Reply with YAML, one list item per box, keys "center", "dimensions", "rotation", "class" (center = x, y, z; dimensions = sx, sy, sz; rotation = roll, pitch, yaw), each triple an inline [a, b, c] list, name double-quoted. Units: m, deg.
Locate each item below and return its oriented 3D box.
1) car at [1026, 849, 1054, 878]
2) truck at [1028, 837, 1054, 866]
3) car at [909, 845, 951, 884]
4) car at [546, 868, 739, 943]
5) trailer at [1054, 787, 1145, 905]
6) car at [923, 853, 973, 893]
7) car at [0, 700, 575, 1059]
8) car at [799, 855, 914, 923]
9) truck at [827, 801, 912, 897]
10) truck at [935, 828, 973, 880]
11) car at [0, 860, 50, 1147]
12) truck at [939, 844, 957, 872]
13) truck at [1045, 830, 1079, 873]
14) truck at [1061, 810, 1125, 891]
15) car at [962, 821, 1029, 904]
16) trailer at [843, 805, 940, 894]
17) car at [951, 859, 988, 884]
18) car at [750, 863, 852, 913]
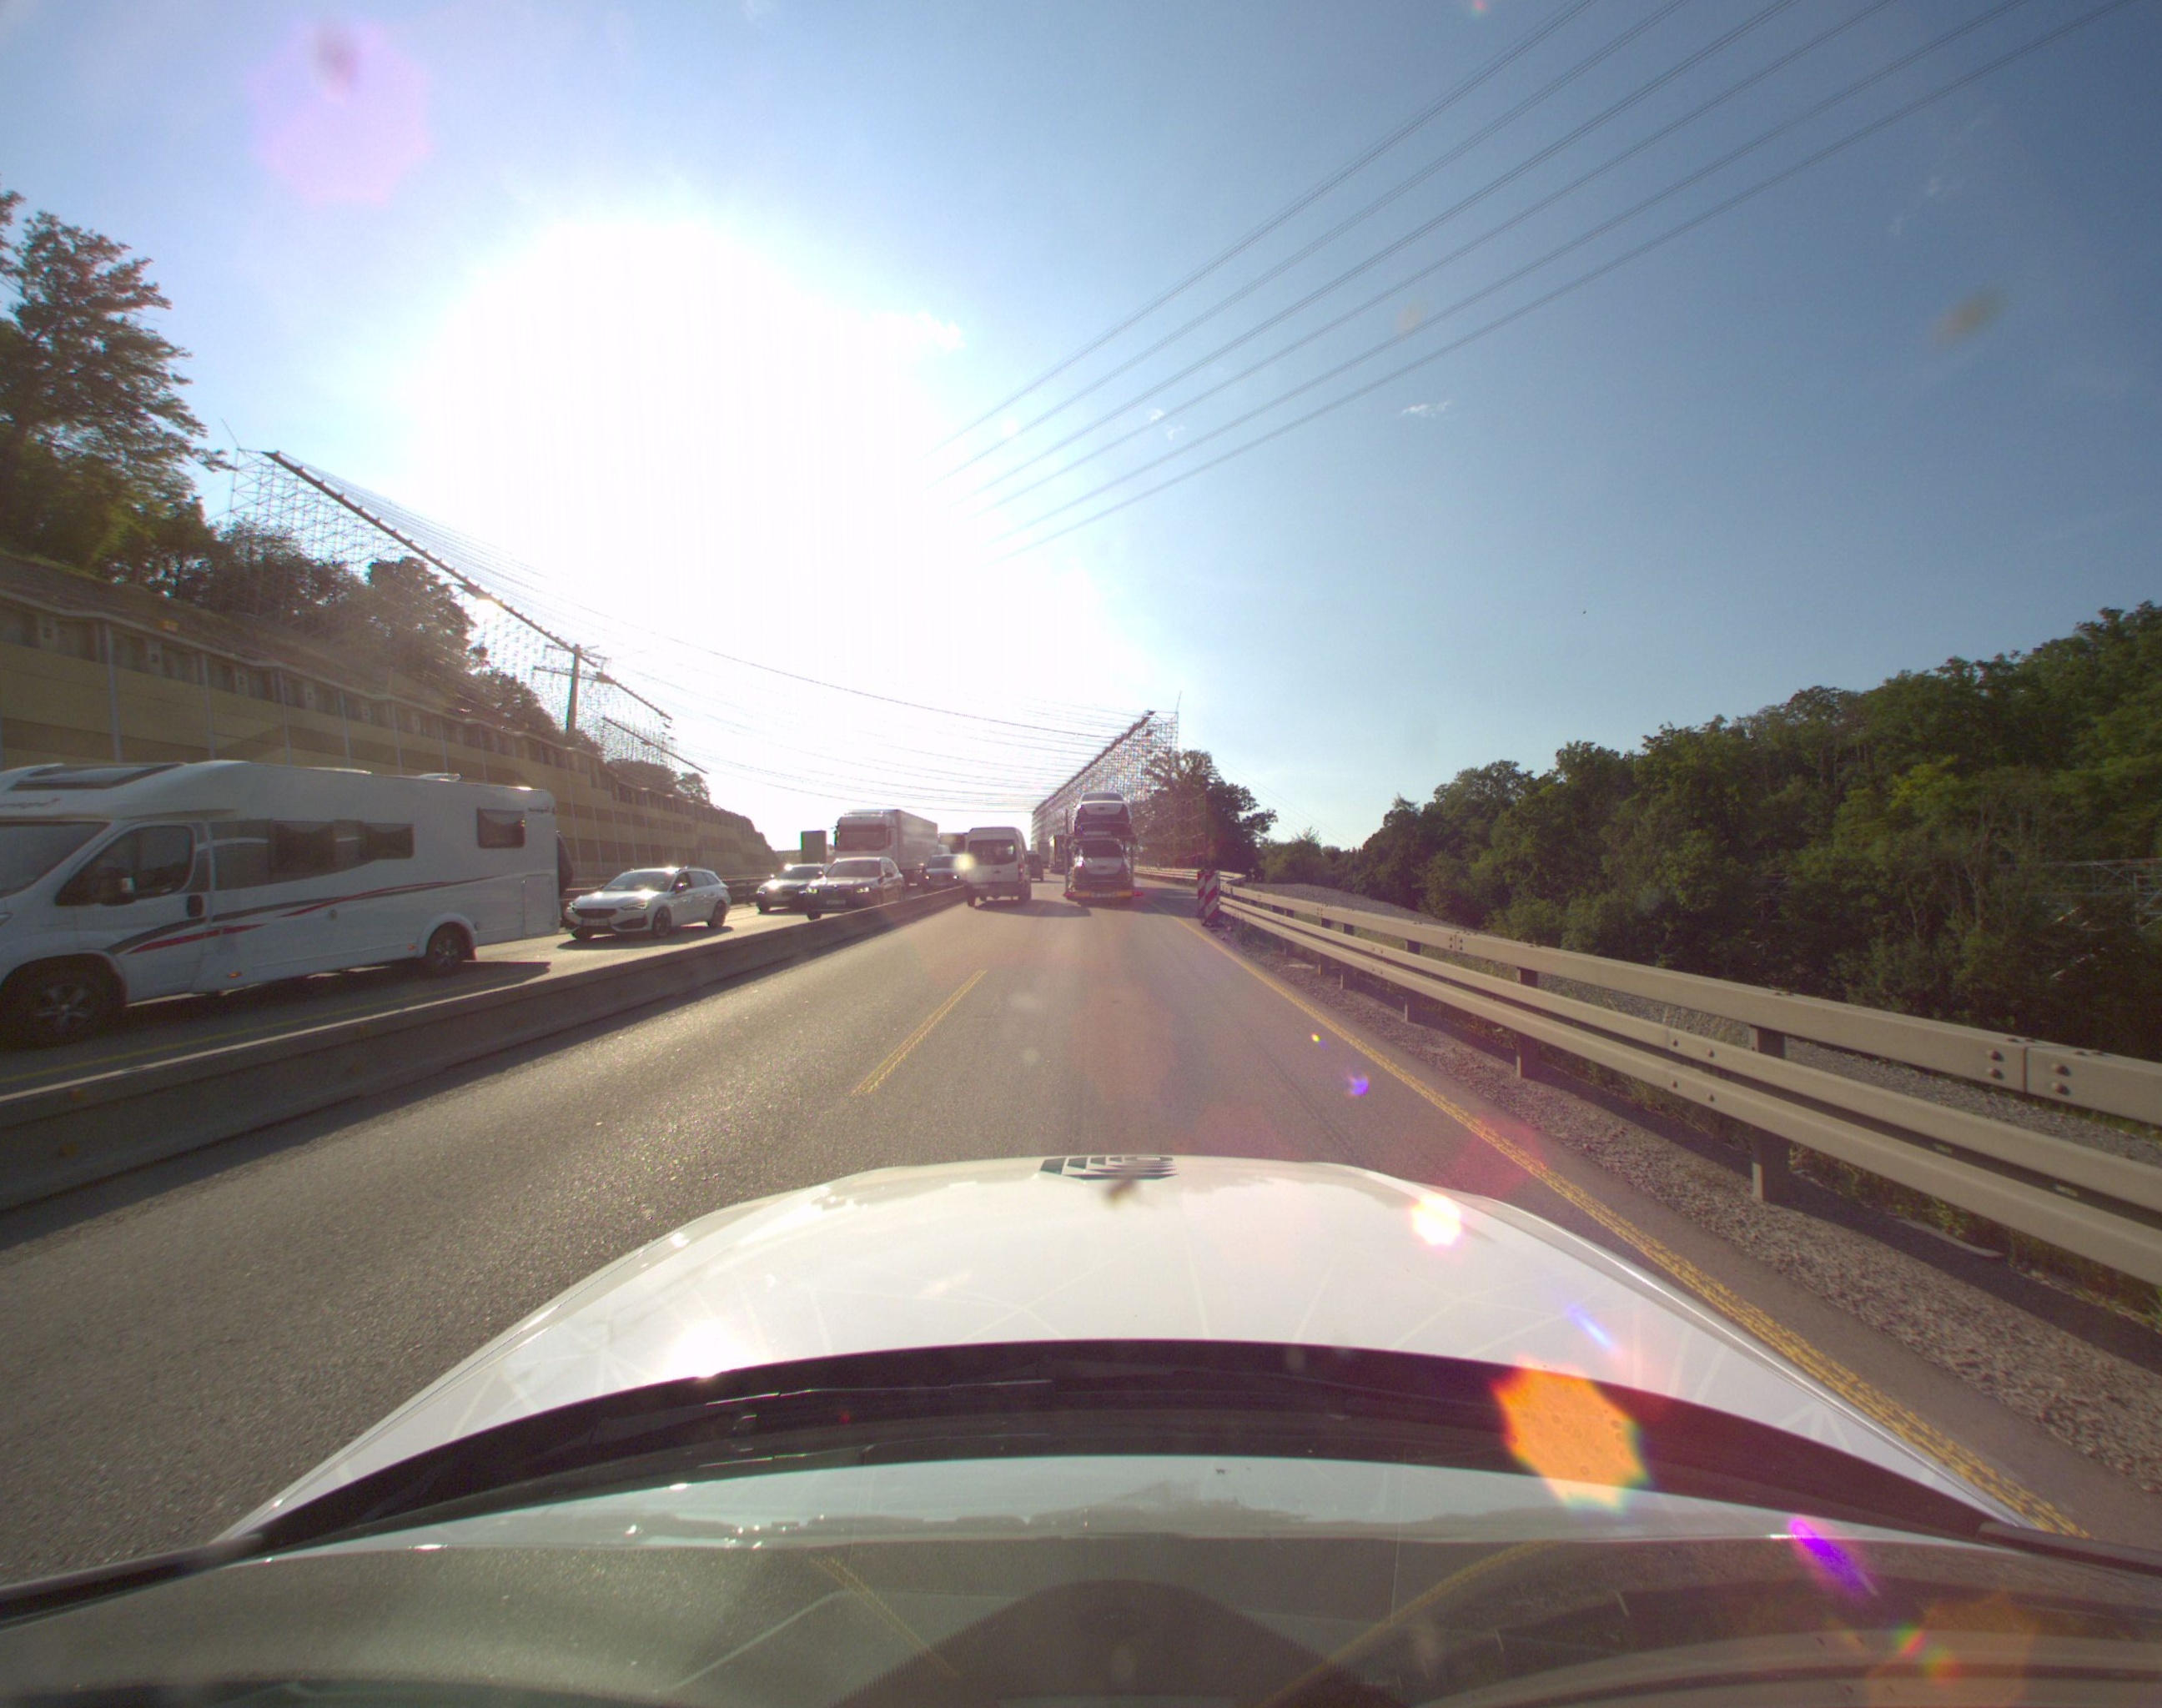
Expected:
- center: [-2.985, 0.683, 58.638]
  dimensions: [1.990, 2.014, 3.994]
  rotation: [0, -1, -4]
  class: "car"
- center: [-6.444, -0.447, 130.883]
  dimensions: [3.679, 4.220, 13.652]
  rotation: [-4, 0, -3]
  class: "truck"
- center: [-10.822, 0.683, 58.849]
  dimensions: [2.016, 2.690, 6.944]
  rotation: [0, 0, -2]
  class: "car"
- center: [-9.422, 1.034, 18.005]
  dimensions: [1.743, 1.422, 4.609]
  rotation: [0, -1, 0]
  class: "car"
- center: [0.566, -0.180, 33.593]
  dimensions: [2.860, 3.725, 14.942]
  rotation: [-1, -1, 0]
  class: "trailer"
- center: [-6.552, 0.904, 40.608]
  dimensions: [1.800, 1.772, 5.448]
  rotation: [-1, 1, -2]
  class: "car"
- center: [-9.884, 0.288, 10.062]
  dimensions: [2.326, 2.918, 7.634]
  rotation: [-2, -1, 1]
  class: "car"
- center: [-6.160, 0.886, 22.989]
  dimensions: [1.811, 1.579, 4.755]
  rotation: [-3, 1, 0]
  class: "car"
- center: [-9.956, -0.211, 38.927]
  dimensions: [2.706, 4.218, 5.677]
  rotation: [-1, -1, -2]
  class: "truck"
- center: [-11.079, 0.006, 71.473]
  dimensions: [2.740, 4.300, 5.924]
  rotation: [-1, -1, -4]
  class: "truck"
- center: [-6.666, 0.807, 2.531]
  dimensions: [1.776, 1.521, 4.001]
  rotation: [1, 1, 1]
  class: "car"
- center: [-20.675, 0.622, 126.331]
  dimensions: [2.663, 4.230, 6.082]
  rotation: [-1, 0, -10]
  class: "truck"
- center: [-2.167, -0.230, 87.633]
  dimensions: [2.729, 4.386, 11.496]
  rotation: [0, 0, -6]
  class: "truck"
- center: [0.501, -0.124, 41.191]
  dimensions: [2.873, 3.702, 7.322]
  rotation: [-1, -1, -1]
  class: "truck"
- center: [-2.875, 0.315, 28.179]
  dimensions: [1.951, 2.621, 3.997]
  rotation: [-2, -1, -2]
  class: "car"
- center: [-10.220, -0.138, 45.708]
  dimensions: [2.714, 4.218, 13.735]
  rotation: [-1, -1, -2]
  class: "trailer"
- center: [-7.311, 1.111, 53.733]
  dimensions: [1.882, 1.568, 4.453]
  rotation: [0, 0, -1]
  class: "car"
- center: [-9.114, 1.058, 26.967]
  dimensions: [1.738, 1.460, 4.712]
  rotation: [-1, -1, 0]
  class: "car"
